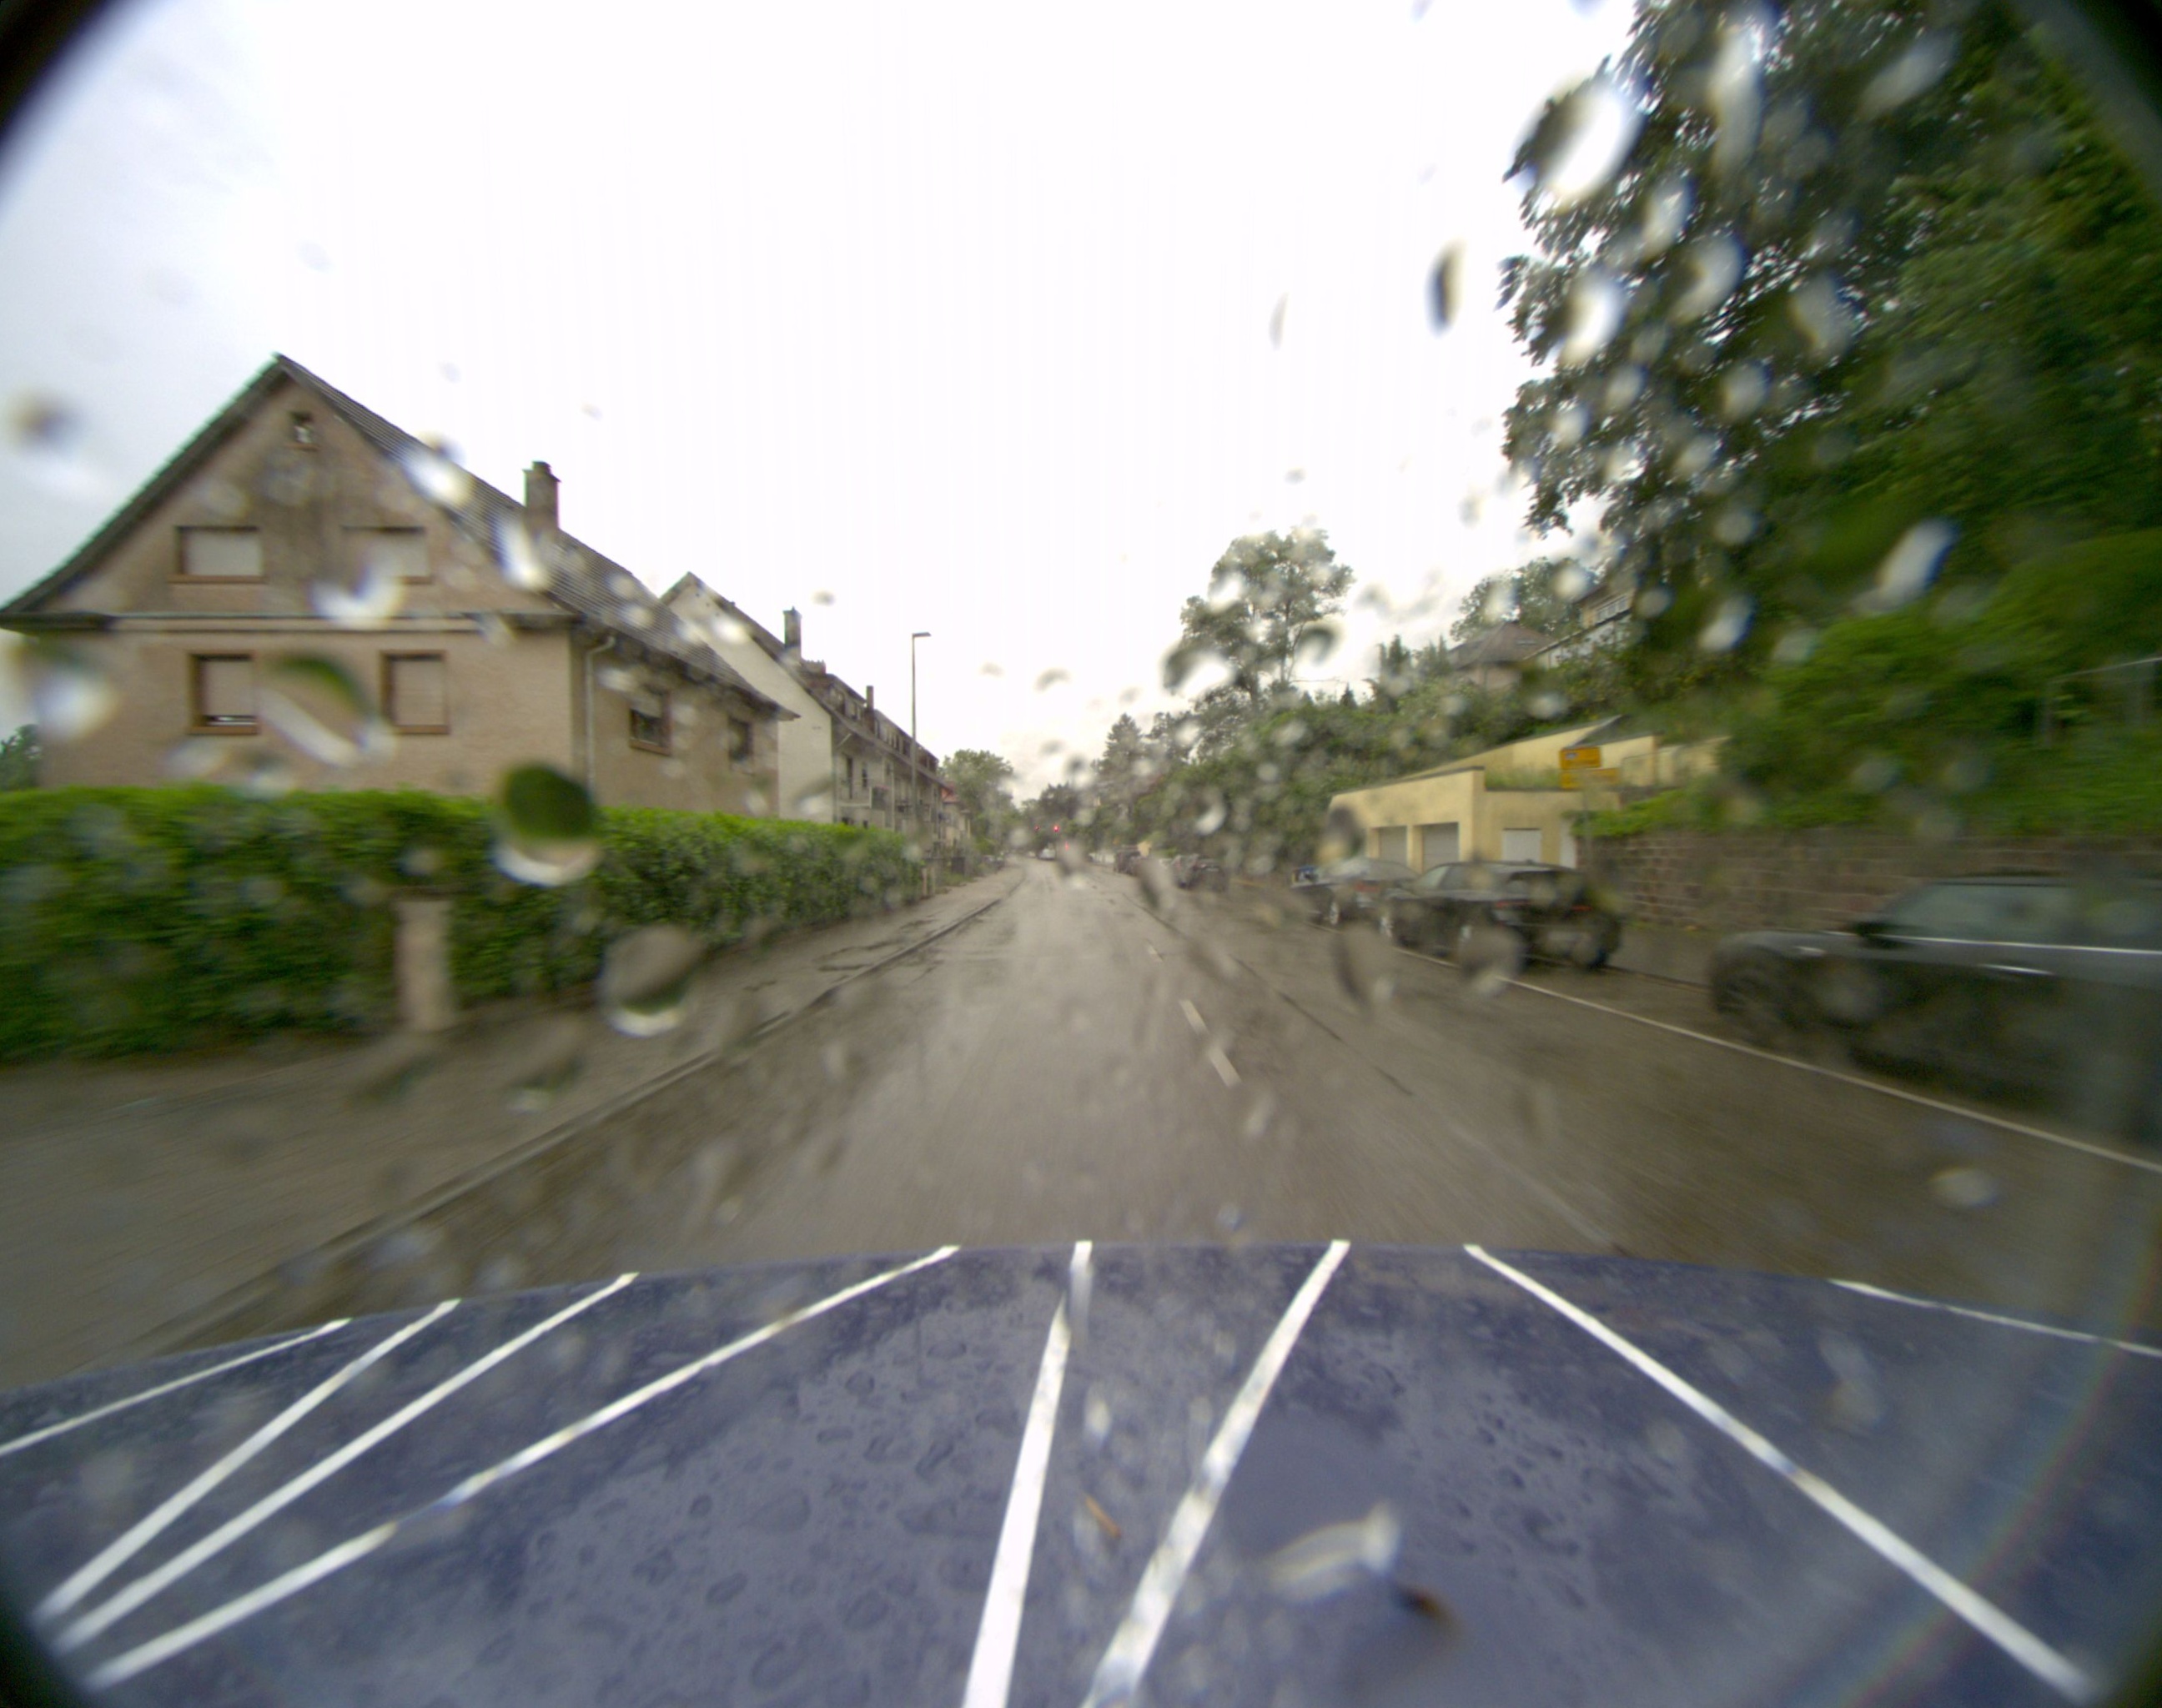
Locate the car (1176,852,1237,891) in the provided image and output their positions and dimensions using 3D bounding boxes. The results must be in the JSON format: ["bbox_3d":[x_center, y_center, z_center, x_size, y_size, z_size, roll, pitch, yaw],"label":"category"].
[{"bbox_3d":[5.680,0.759,35.054,1.879,1.616,4.592,2,0,-2],"label":"car"}]

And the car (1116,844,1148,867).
[{"bbox_3d":[4.413,0.120,66.581,2.164,1.908,5.321,0,1,-3],"label":"car"}]

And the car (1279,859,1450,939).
[{"bbox_3d":[5.958,0.860,16.683,1.790,1.446,4.754,2,0,-2],"label":"car"}]

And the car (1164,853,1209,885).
[{"bbox_3d":[5.555,0.766,40.457,1.746,1.552,4.108,2,0,-1],"label":"car"}]

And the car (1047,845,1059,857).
[{"bbox_3d":[-6.197,-0.670,166.188,2.086,2.464,4.849,2,1,-8],"label":"car"}]

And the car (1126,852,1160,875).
[{"bbox_3d":[4.548,0.659,56.044,1.913,1.472,4.753,2,1,-2],"label":"car"}]

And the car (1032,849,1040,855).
[{"bbox_3d":[-12.907,-0.550,217.045,1.926,1.747,3.997,-2,1,-7],"label":"car"}]

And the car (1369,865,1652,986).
[{"bbox_3d":[6.030,0.899,11.353,1.790,1.407,4.217,1,0,-1],"label":"car"}]

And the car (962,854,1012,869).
[{"bbox_3d":[-8.977,0.741,72.339,4.371,1.357,1.922,-1,2,29],"label":"car"}]

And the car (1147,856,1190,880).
[{"bbox_3d":[5.152,0.801,45.045,1.721,1.357,4.081,2,0,-5],"label":"car"}]

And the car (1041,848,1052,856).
[{"bbox_3d":[-8.272,-0.443,183.542,2.164,1.944,4.912,2,1,-8],"label":"car"}]

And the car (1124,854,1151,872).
[{"bbox_3d":[4.562,0.709,61.476,1.569,1.357,3.905,1,1,-5],"label":"car"}]

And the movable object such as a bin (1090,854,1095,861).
[{"bbox_3d":[1.888,0.601,125.835,0.683,1.034,0.656,-2,1,-8],"label":"movable object such as a bin"}]

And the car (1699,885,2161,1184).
[{"bbox_3d":[6.141,0.938,4.519,1.813,1.341,3.775,1,0,-1],"label":"car"}]

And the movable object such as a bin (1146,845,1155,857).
[{"bbox_3d":[7.470,-0.309,81.435,0.822,1.307,1.401,-2,1,-1],"label":"movable object such as a bin"}]
